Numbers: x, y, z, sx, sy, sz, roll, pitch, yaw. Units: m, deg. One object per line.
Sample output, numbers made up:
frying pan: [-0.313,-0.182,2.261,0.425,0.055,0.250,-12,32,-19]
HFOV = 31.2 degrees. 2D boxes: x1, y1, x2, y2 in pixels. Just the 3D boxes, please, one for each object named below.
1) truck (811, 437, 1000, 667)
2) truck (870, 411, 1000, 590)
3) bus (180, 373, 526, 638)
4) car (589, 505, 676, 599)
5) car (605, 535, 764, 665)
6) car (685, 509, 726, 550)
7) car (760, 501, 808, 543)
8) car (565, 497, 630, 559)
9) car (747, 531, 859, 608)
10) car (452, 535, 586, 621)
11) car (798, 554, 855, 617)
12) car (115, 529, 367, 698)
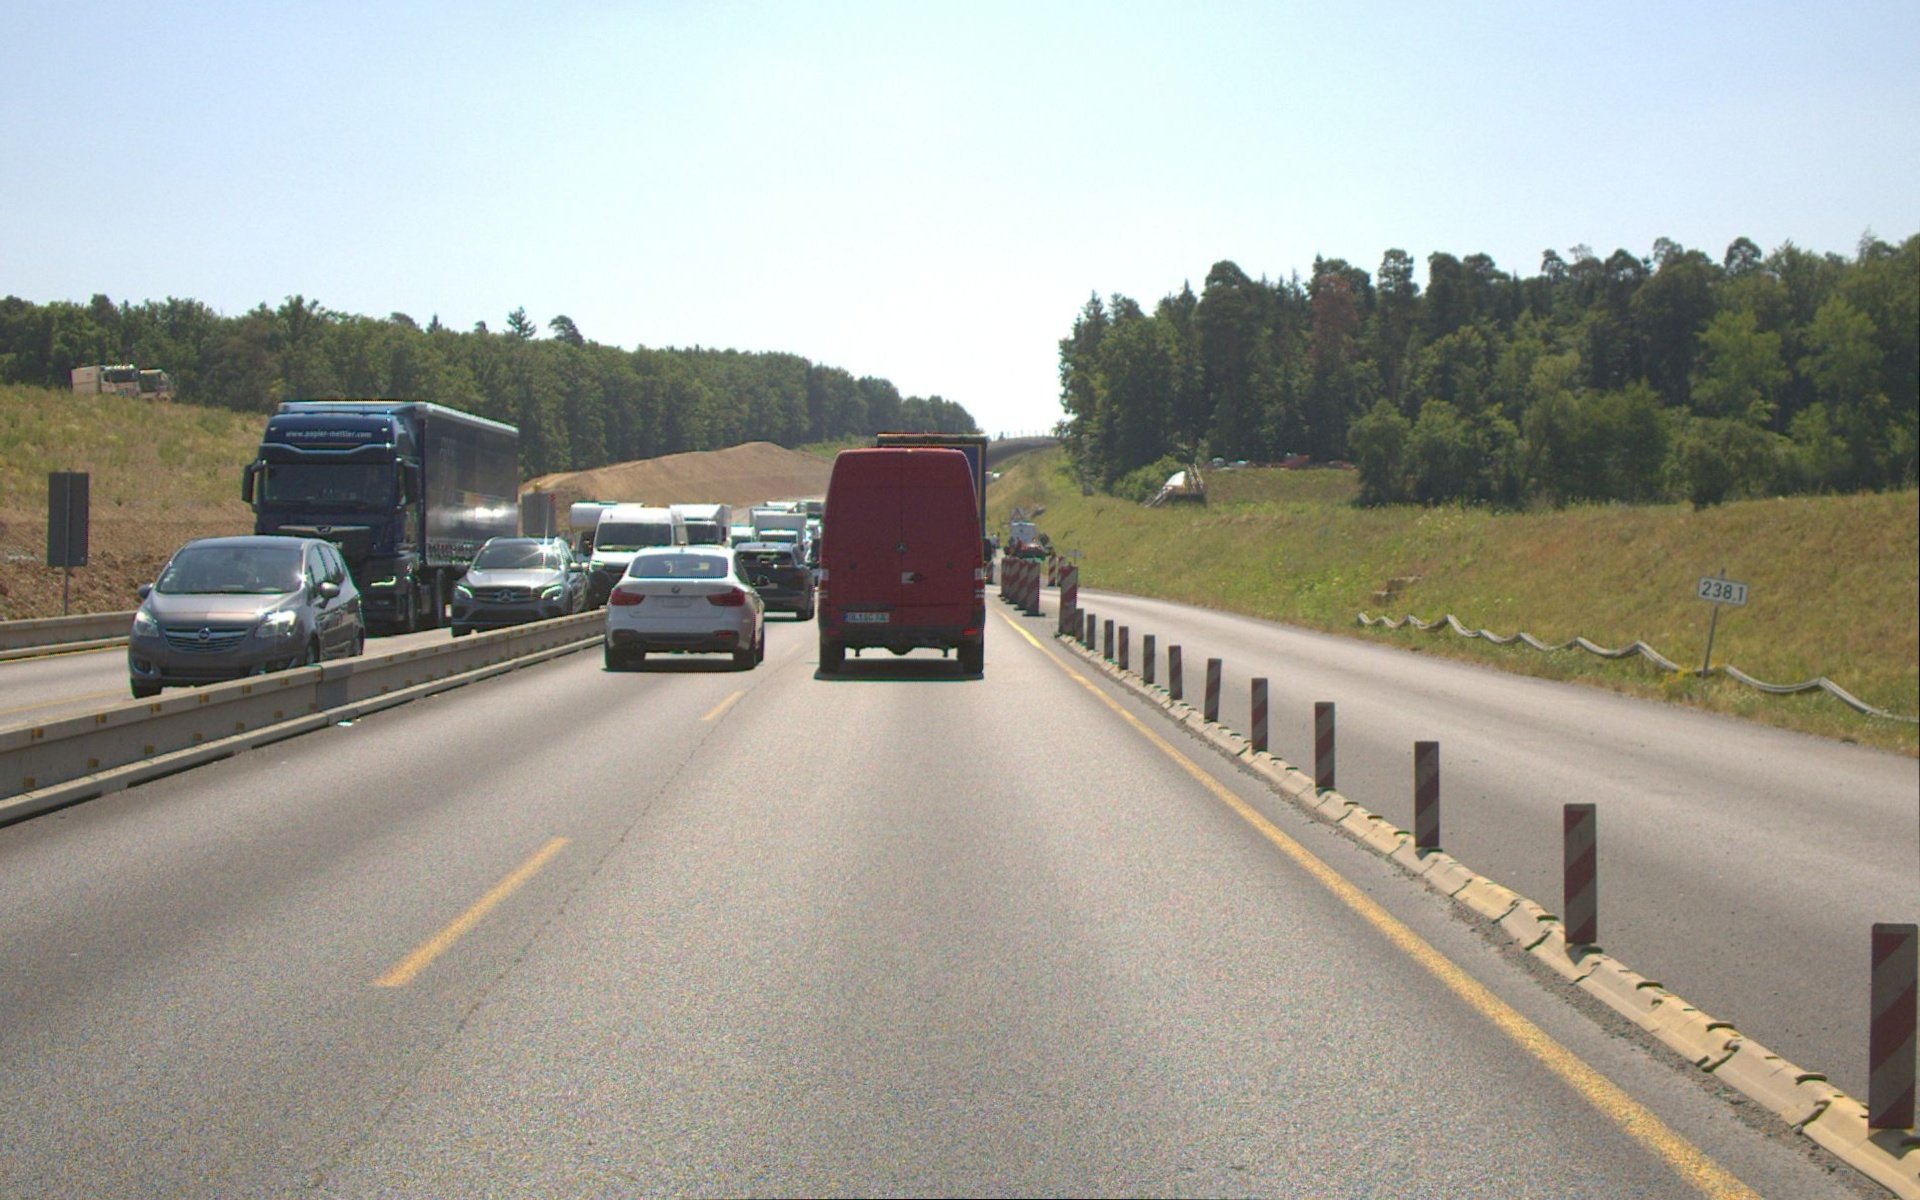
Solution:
truck: [-0.588,-0.617,42.678,2.111,2.624,6.484,0,1,1]
truck: [-0.575,-2.393,84.219,3.015,4.138,8.273,0,1,0]
bus: [-11.198,-1.747,65.882,3.942,4.400,17.202,0,1,-1]
car: [-7.699,-1.149,81.087,1.858,2.147,3.626,0,1,-3]
car: [-3.430,-0.042,43.531,1.795,1.529,5.074,1,1,-2]
car: [-11.332,-3.140,153.072,1.723,1.823,3.559,0,1,-3]
car: [-8.104,-3.586,158.516,1.993,1.897,4.000,0,1,0]
car: [-11.965,-2.384,113.574,1.763,2.007,3.827,0,1,-1]
car: [-3.221,-0.652,71.235,1.795,1.529,3.931,0,1,5]
car: [-7.136,-0.378,55.920,1.722,1.341,3.626,0,1,0]
car: [-4.420,-0.492,114.199,1.763,2.007,3.827,0,1,-1]
car: [-7.026,0.086,33.954,1.652,1.553,4.096,0,1,0]
